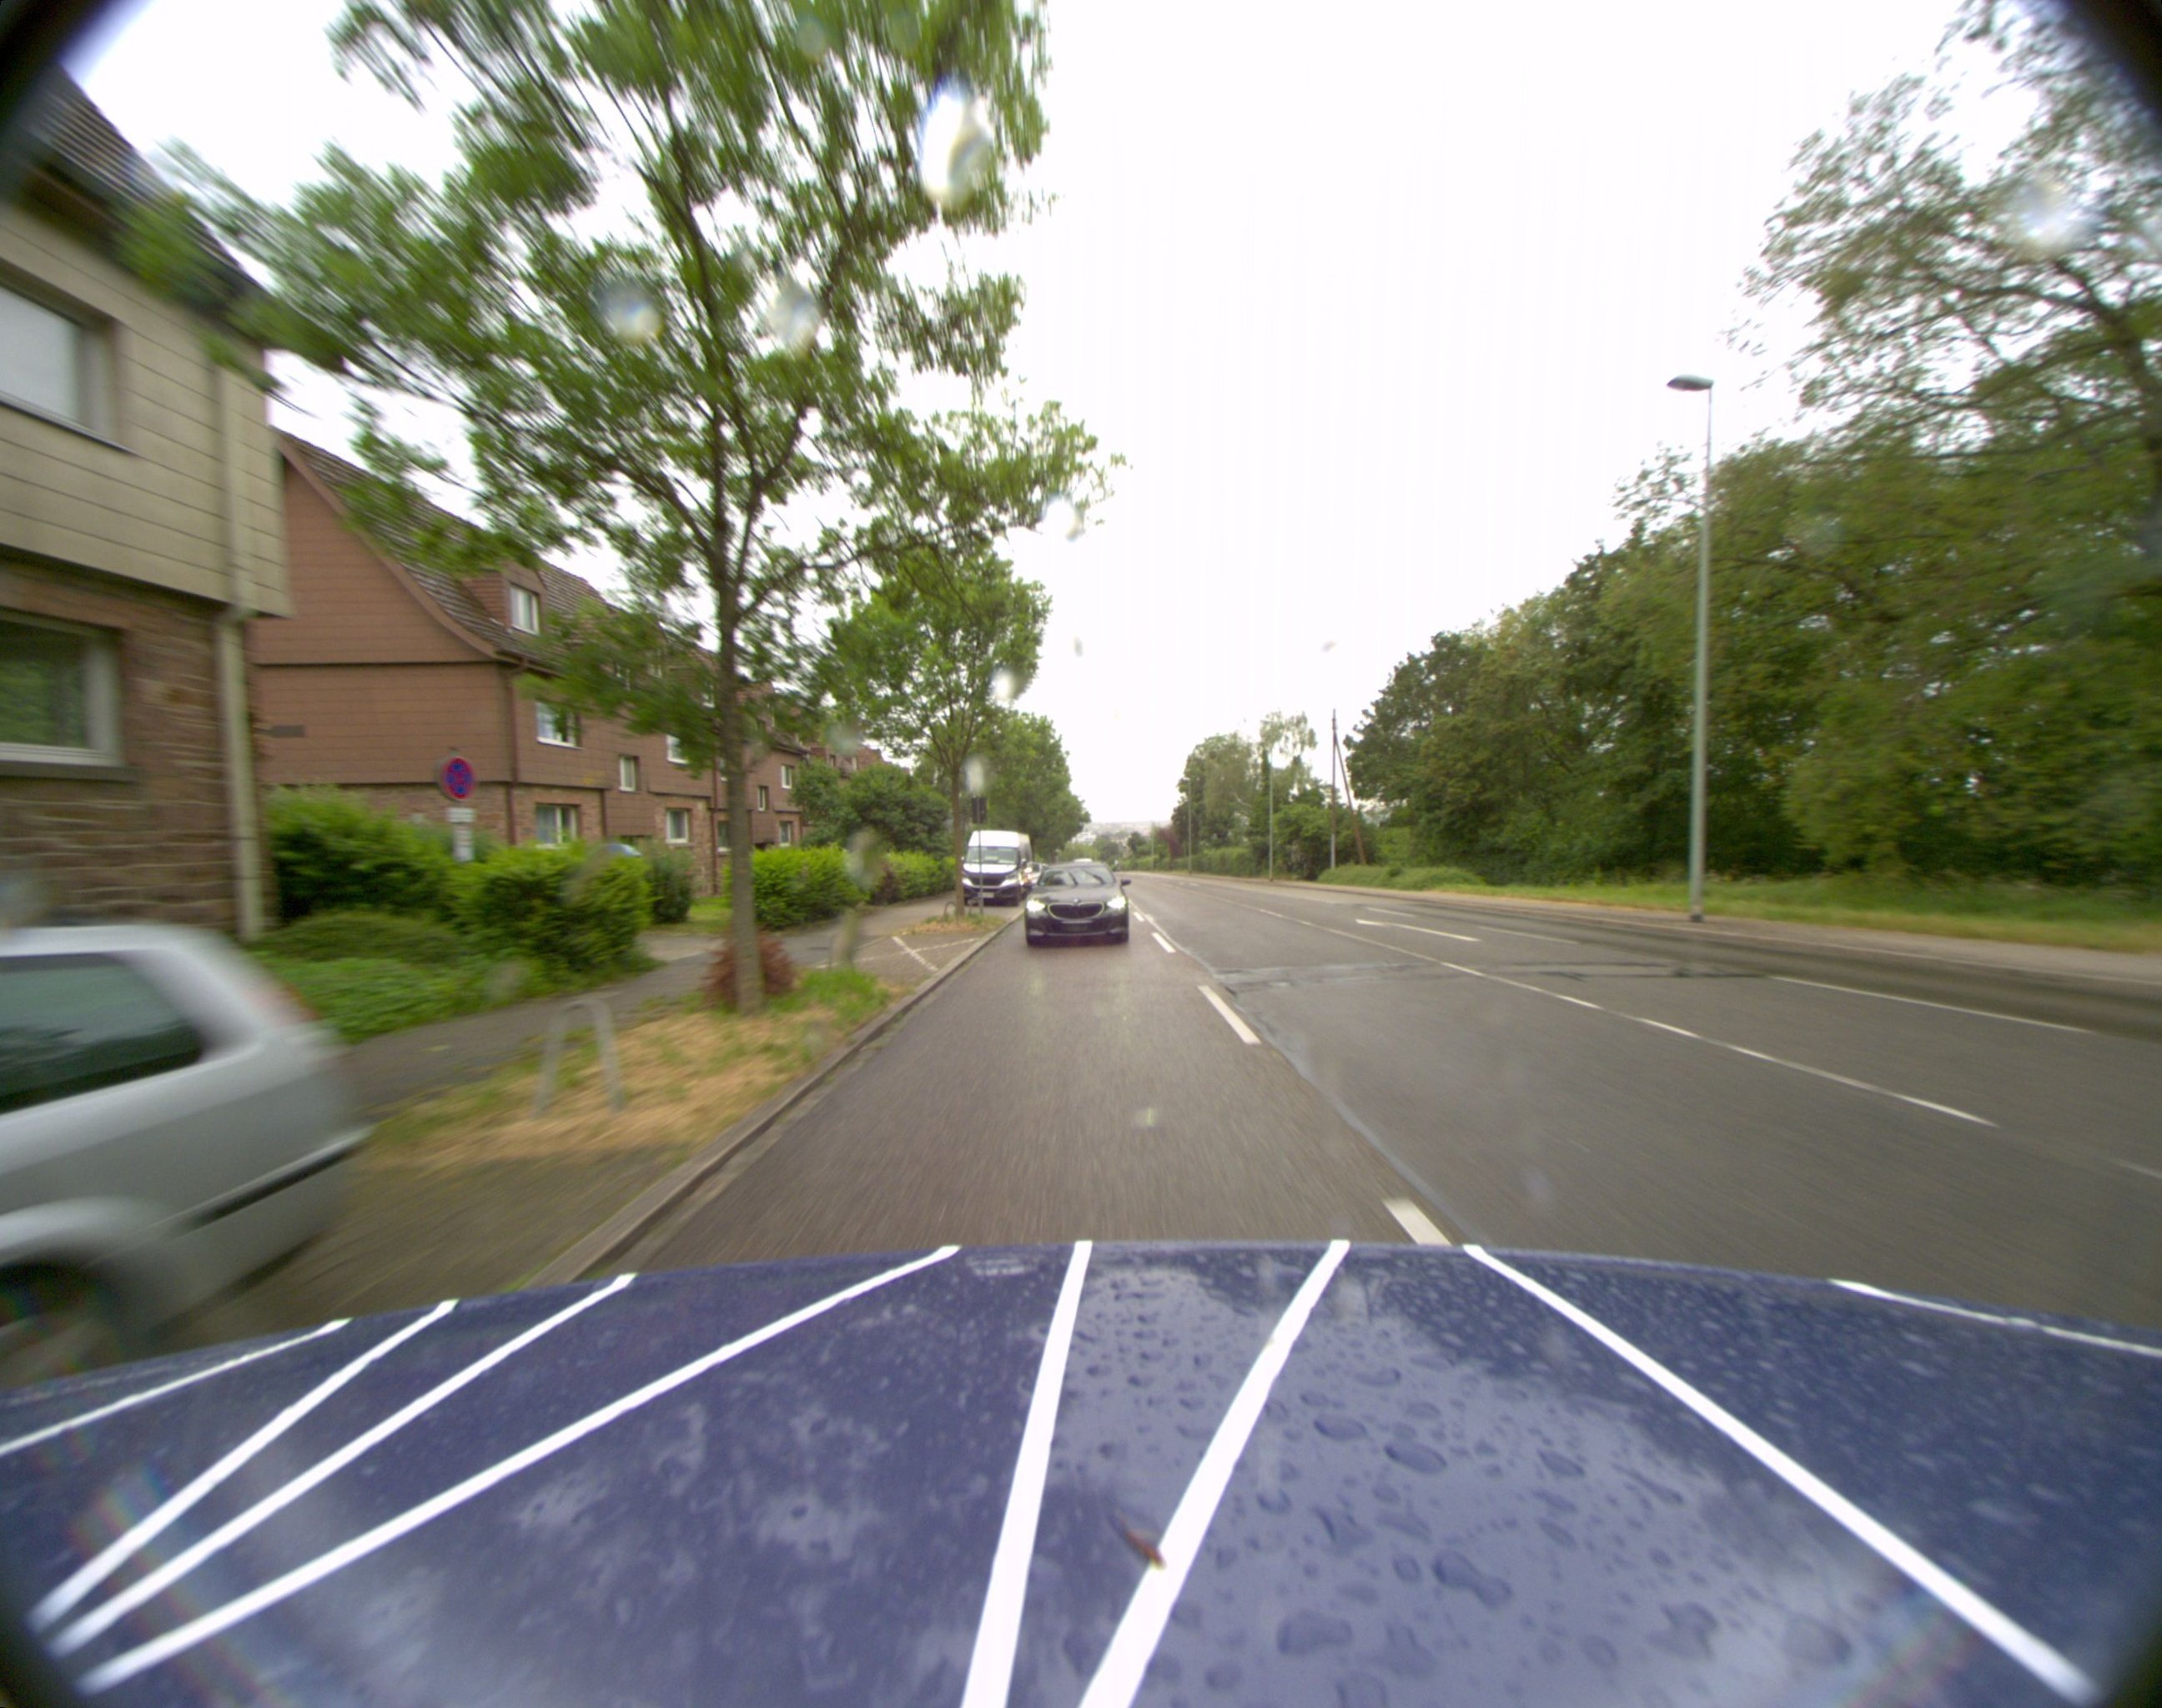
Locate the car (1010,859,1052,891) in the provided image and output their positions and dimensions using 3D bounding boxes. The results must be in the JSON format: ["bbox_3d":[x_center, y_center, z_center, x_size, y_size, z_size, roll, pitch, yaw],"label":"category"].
[{"bbox_3d":[-2.577,1.058,39.921,1.672,1.519,3.832,2,0,3],"label":"car"}]

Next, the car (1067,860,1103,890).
[{"bbox_3d":[0.210,1.194,44.357,1.999,1.674,4.174,-1,0,-1],"label":"car"}]

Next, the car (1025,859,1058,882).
[{"bbox_3d":[-2.827,1.165,55.342,1.828,1.593,4.475,1,-1,3],"label":"car"}]

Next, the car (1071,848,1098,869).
[{"bbox_3d":[0.259,0.396,64.474,1.999,1.674,4.172,-1,0,-5],"label":"car"}]

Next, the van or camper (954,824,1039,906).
[{"bbox_3d":[-2.939,0.411,28.363,2.203,2.635,7.302,1,-1,1],"label":"van or camper"}]

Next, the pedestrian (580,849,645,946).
[{"bbox_3d":[-8.228,0.748,13.365,0.709,1.670,0.654,0,0,6],"label":"pedestrian"}]

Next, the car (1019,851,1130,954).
[{"bbox_3d":[-0.118,0.853,15.182,1.829,1.668,4.296,-3,-1,0],"label":"car"}]

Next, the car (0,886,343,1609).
[{"bbox_3d":[-3.330,0.880,0.144,1.706,1.575,4.643,3,0,2],"label":"car"}]
